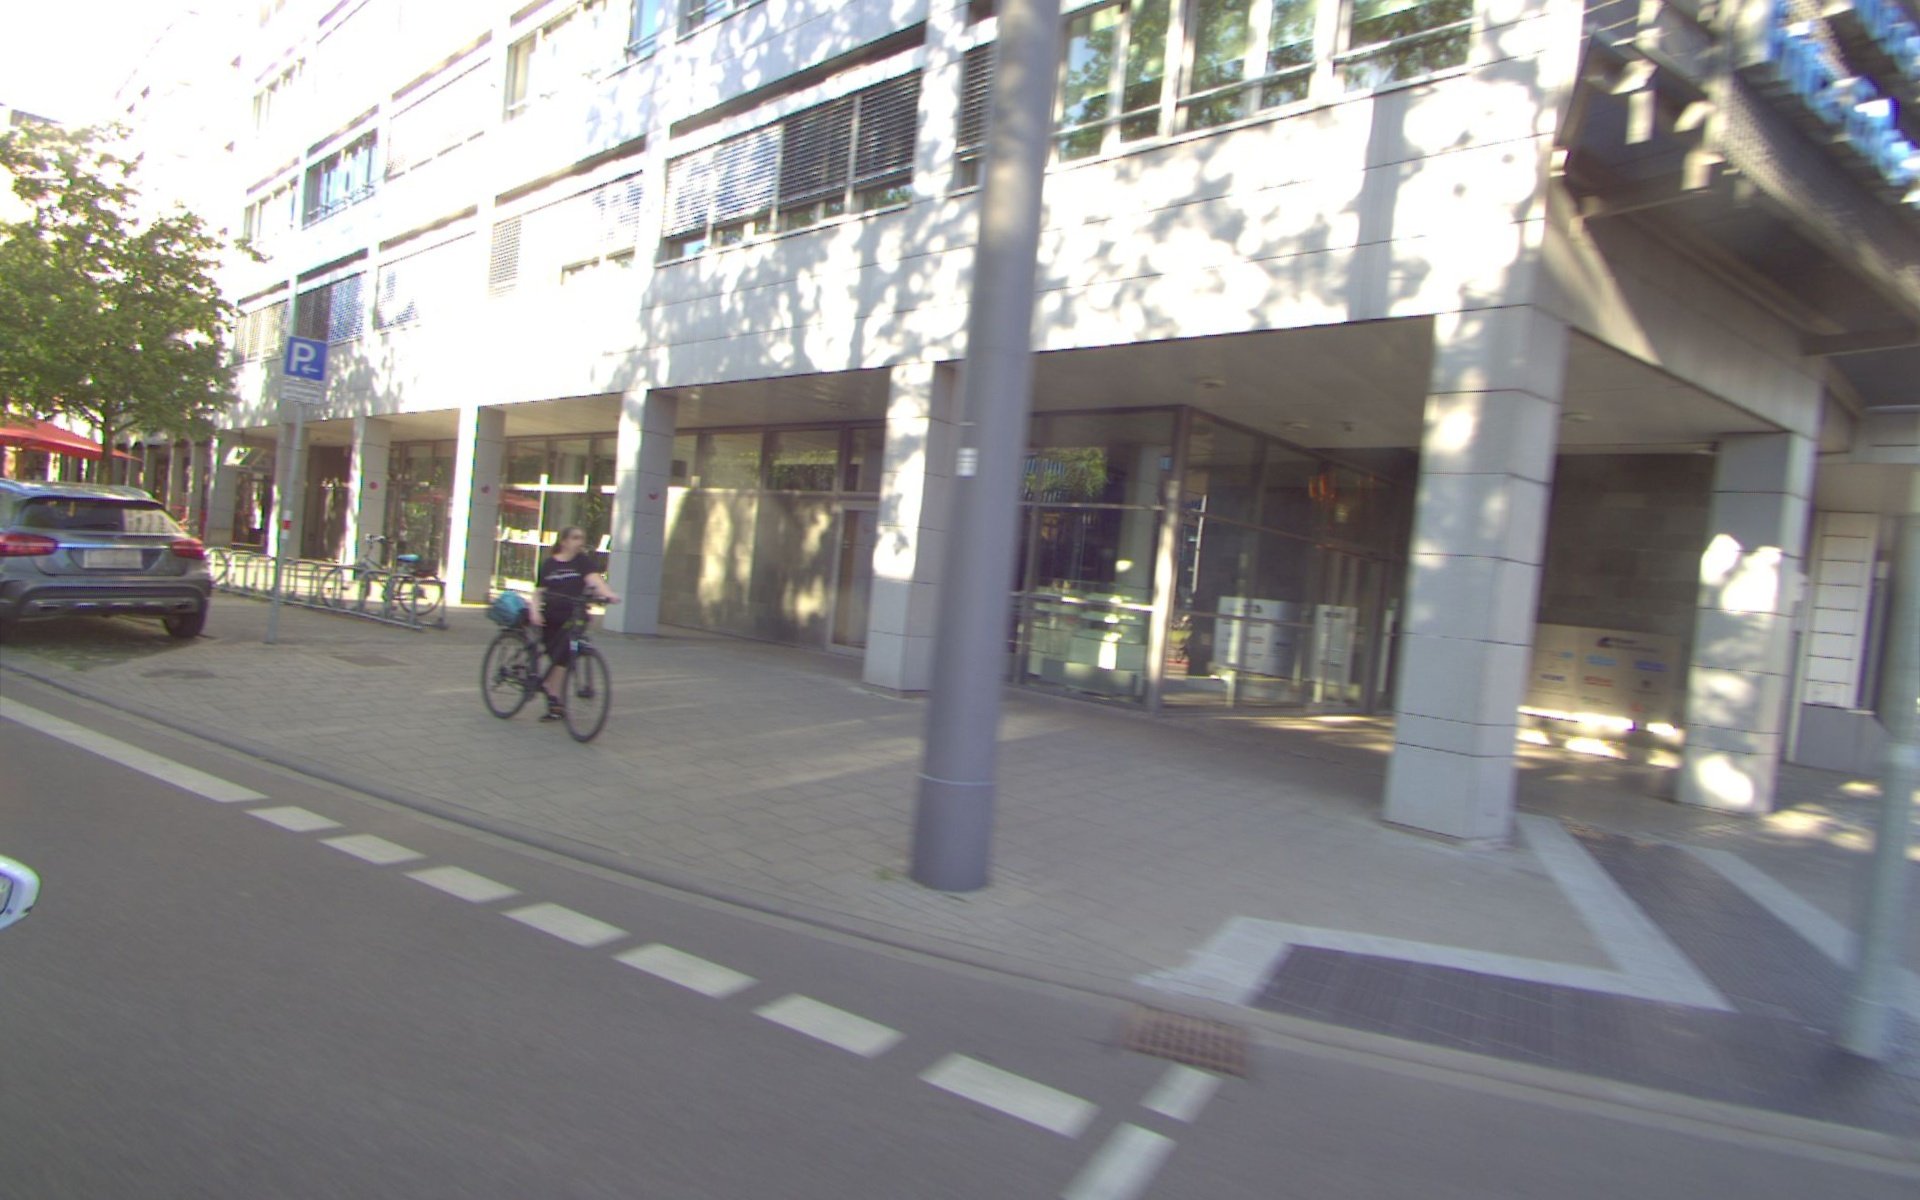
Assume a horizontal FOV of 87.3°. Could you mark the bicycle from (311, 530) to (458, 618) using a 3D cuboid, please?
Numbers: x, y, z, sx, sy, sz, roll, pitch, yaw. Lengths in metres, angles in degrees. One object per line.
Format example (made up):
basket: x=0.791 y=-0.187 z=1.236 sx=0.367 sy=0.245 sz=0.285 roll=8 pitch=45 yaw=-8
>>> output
bicycle: x=-8.510 y=-0.358 z=14.949 sx=0.463 sy=1.167 sz=1.831 roll=7 pitch=3 yaw=34

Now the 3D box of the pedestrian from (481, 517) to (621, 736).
pedestrian: x=-3.326 y=0.190 z=8.177 sx=0.823 sy=1.634 sz=0.604 roll=8 pitch=5 yaw=31

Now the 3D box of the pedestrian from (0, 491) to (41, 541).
pedestrian: x=-32.592 y=-2.916 z=34.851 sx=0.978 sy=1.566 sz=0.870 roll=7 pitch=2 yaw=35

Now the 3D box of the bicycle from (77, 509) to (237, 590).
bicycle: x=-13.156 y=-0.807 z=16.549 sx=0.728 sy=1.115 sz=1.870 roll=7 pitch=1 yaw=26

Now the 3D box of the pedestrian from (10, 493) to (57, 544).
pedestrian: x=-31.475 y=-2.761 z=34.184 sx=0.977 sy=1.566 sz=0.871 roll=7 pitch=2 yaw=32

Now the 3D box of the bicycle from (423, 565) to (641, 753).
bicycle: x=-3.413 y=0.411 z=7.957 sx=1.817 sy=1.180 sz=0.610 roll=8 pitch=6 yaw=32

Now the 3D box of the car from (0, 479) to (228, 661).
car: x=-9.836 y=-0.448 z=10.697 sx=4.342 sy=1.594 sz=1.858 roll=6 pitch=3 yaw=33

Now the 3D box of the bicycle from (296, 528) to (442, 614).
bicycle: x=-8.893 y=-0.412 z=15.218 sx=0.463 sy=1.167 sz=1.831 roll=7 pitch=3 yaw=34

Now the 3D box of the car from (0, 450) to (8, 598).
car: x=-14.702 y=-1.194 z=13.167 sx=4.840 sy=1.869 sz=1.922 roll=6 pitch=3 yaw=29
